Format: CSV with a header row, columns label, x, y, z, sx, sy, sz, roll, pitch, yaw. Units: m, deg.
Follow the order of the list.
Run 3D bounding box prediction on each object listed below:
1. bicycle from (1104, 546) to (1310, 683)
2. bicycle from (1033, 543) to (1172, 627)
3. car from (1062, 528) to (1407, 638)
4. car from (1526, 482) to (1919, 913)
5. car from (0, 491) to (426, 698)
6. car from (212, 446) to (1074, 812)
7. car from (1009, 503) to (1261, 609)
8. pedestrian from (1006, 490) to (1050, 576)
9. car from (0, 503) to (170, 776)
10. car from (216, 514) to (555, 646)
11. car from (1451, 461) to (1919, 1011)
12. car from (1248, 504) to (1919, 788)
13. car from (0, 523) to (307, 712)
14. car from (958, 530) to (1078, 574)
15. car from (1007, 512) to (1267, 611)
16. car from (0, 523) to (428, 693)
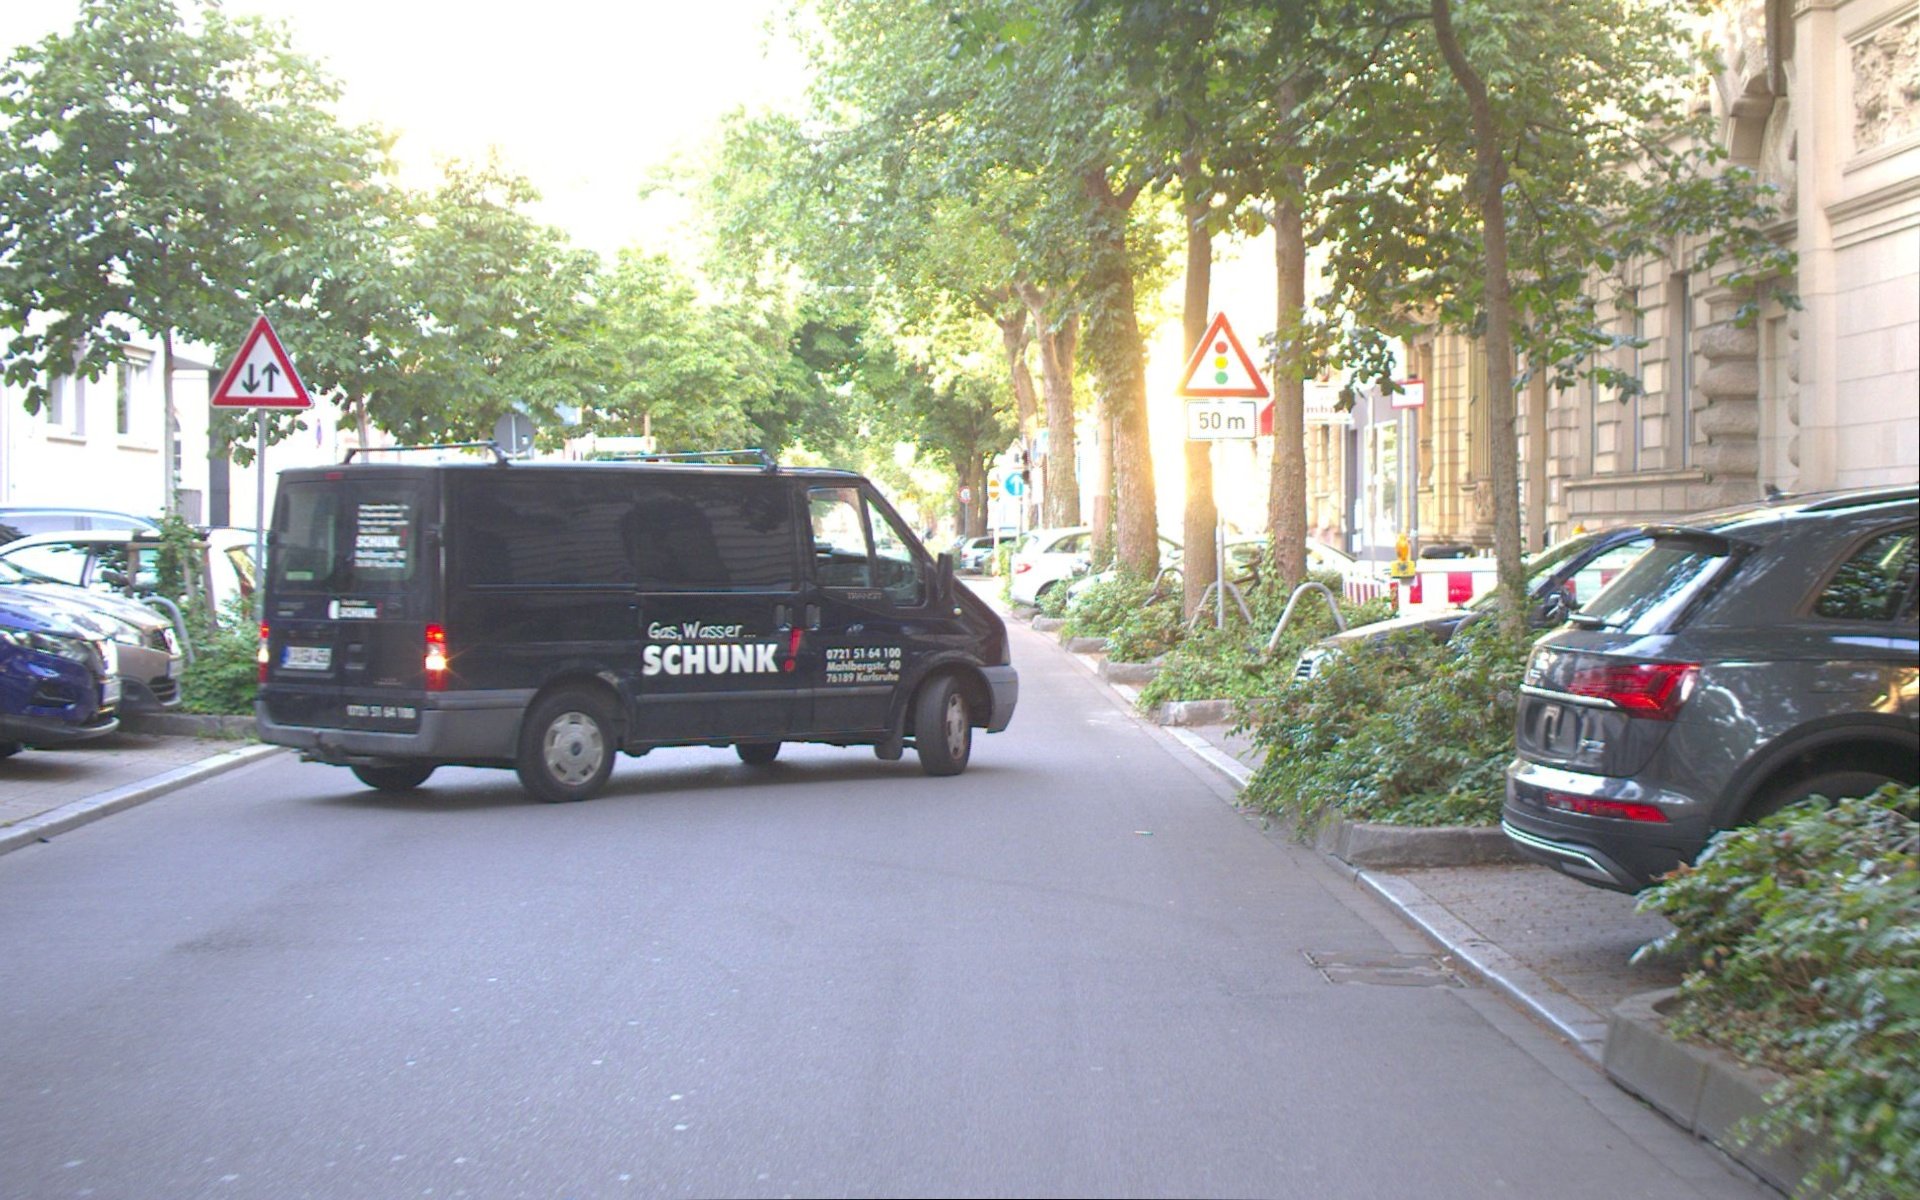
label,x,y,z,sx,sy,sz,roll,pitch,yaw
bicycle,2.554,0.143,35.582,2.046,1.356,0.508,1,1,-3
bicycle,2.178,-0.229,52.453,2.019,1.200,0.488,-2,1,-13
car,3.700,-0.245,46.949,4.583,1.432,1.925,0,1,1
car,4.528,0.342,14.378,4.007,1.681,1.765,-1,2,-1
car,-7.366,-0.084,31.364,4.665,1.759,2.157,1,1,-1
car,-1.833,0.089,21.135,4.993,1.984,2.188,-1,2,-43
car,3.263,-0.834,64.830,4.539,1.908,1.950,-1,1,-3
pedestrian,1.712,-1.675,86.781,1.043,2.139,1.063,1,0,-1
car,-7.281,0.128,21.132,4.354,1.567,1.931,3,1,-1
car,-7.463,-0.279,44.943,4.093,1.626,1.936,1,1,0
car,4.090,0.382,11.897,4.439,1.712,1.968,-1,0,-1
car,3.984,0.244,20.960,4.223,1.476,1.855,-3,1,-1
car,-7.554,0.107,28.728,3.845,1.446,1.855,1,2,-1
car,2.067,-1.729,123.404,4.192,1.475,1.852,-2,1,-1
car,2.928,-0.653,57.214,4.225,1.555,1.971,-1,2,2
car,-7.422,0.051,33.775,4.029,1.489,1.780,2,1,3
